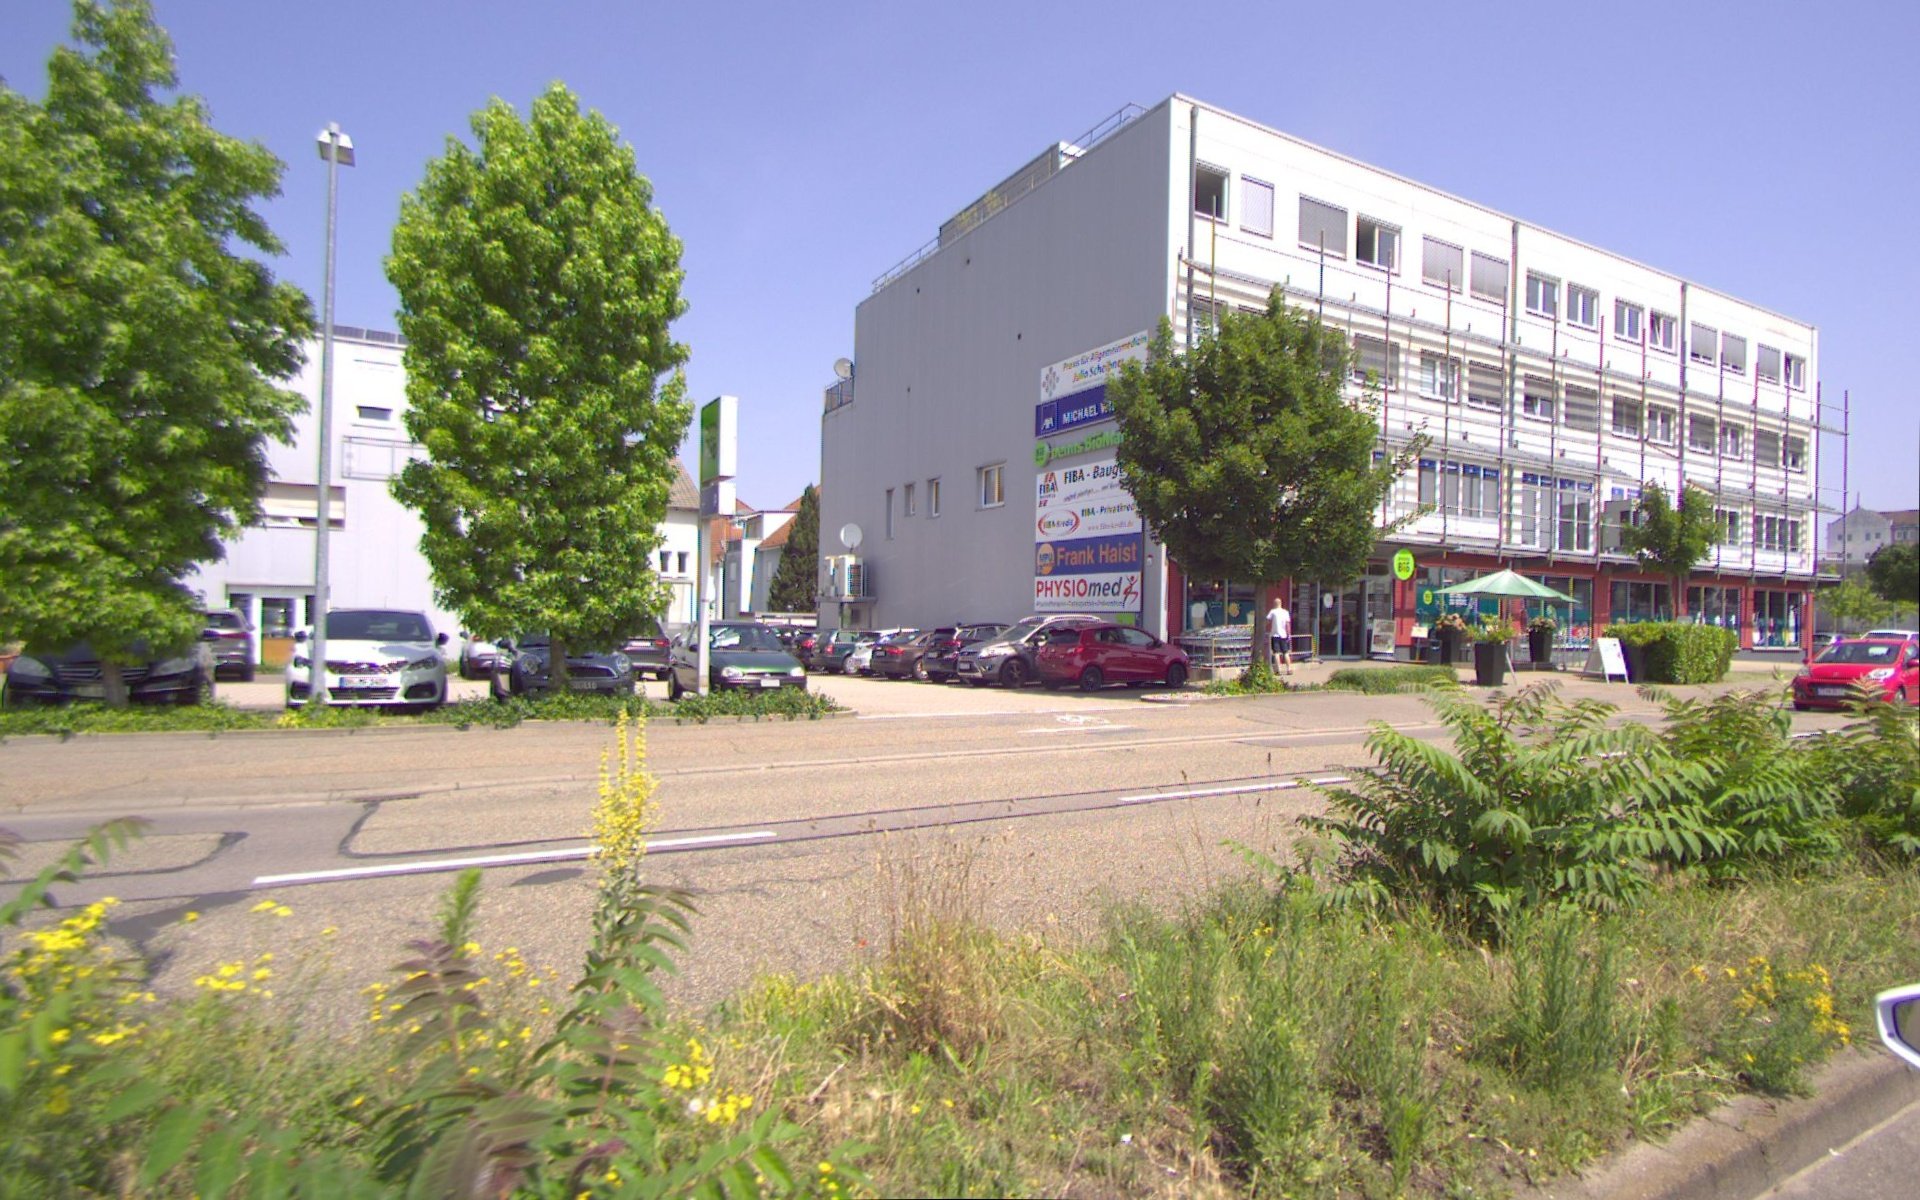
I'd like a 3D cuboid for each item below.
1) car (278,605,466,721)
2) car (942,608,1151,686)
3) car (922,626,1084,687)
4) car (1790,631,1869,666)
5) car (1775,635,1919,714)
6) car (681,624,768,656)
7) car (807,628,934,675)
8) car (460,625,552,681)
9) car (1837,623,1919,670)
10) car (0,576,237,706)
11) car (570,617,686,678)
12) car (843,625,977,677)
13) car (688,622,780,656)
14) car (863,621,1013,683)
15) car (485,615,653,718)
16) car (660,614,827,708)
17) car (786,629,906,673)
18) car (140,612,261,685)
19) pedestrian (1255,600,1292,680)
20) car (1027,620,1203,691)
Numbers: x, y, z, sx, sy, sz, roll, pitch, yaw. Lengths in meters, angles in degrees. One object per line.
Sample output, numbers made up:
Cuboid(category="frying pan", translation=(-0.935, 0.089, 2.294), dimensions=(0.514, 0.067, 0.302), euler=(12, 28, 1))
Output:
Cuboid(category="car", translation=(-8.205, 0.818, 14.124), dimensions=(1.957, 1.366, 4.204), euler=(2, -2, -30))
Cuboid(category="car", translation=(2.179, 1.167, 24.707), dimensions=(5.107, 1.757, 1.751), euler=(2, -3, -31))
Cuboid(category="car", translation=(1.139, 1.481, 26.311), dimensions=(3.952, 1.484, 1.732), euler=(2, -3, -29))
Cuboid(category="car", translation=(43.692, 2.439, 50.484), dimensions=(3.953, 1.567, 1.761), euler=(4, -2, -29))
Cuboid(category="car", translation=(17.916, 1.444, 19.894), dimensions=(3.409, 1.442, 1.623), euler=(2, -3, -30))
Cuboid(category="car", translation=(-11.443, 1.942, 48.766), dimensions=(3.939, 1.470, 1.727), euler=(2, -1, -20))
Cuboid(category="car", translation=(-2.998, 1.730, 33.649), dimensions=(3.939, 1.470, 1.727), euler=(2, -1, -20))
Cuboid(category="car", translation=(-11.832, 1.336, 26.052), dimensions=(1.839, 1.302, 3.821), euler=(2, -1, -30))
Cuboid(category="car", translation=(33.909, 1.731, 36.612), dimensions=(3.995, 1.514, 1.671), euler=(4, -1, -29))
Cuboid(category="car", translation=(-10.574, 0.503, 12.676), dimensions=(2.020, 1.360, 4.126), euler=(2, -2, -32))
Cuboid(category="car", translation=(-8.900, 1.211, 26.767), dimensions=(1.750, 1.479, 3.809), euler=(2, -2, -38))
Cuboid(category="car", translation=(-1.565, 1.620, 31.881), dimensions=(3.953, 1.554, 1.691), euler=(2, -3, -30))
Cuboid(category="car", translation=(-10.357, 1.777, 45.983), dimensions=(3.939, 1.470, 1.727), euler=(2, -1, -20))
Cuboid(category="car", translation=(-0.615, 1.474, 28.972), dimensions=(3.953, 1.661, 1.767), euler=(2, -1, -30))
Cuboid(category="car", translation=(-6.114, 0.937, 15.453), dimensions=(1.838, 1.351, 3.820), euler=(2, -1, -30))
Cuboid(category="car", translation=(-3.705, 0.964, 16.759), dimensions=(1.759, 1.382, 3.643), euler=(1, -2, -29))
Cuboid(category="car", translation=(-4.076, 1.808, 35.759), dimensions=(3.939, 1.470, 1.727), euler=(2, -1, -20))
Cuboid(category="car", translation=(-16.905, 1.030, 22.539), dimensions=(1.944, 1.487, 3.946), euler=(2, -2, -35))
Cuboid(category="pedestrian", translation=(7.723, 0.971, 24.745), dimensions=(0.492, 1.892, 0.672), euler=(-1, 3, -30))
Cuboid(category="car", translation=(3.512, 1.239, 22.667), dimensions=(3.754, 1.486, 1.651), euler=(2, -3, -31))
